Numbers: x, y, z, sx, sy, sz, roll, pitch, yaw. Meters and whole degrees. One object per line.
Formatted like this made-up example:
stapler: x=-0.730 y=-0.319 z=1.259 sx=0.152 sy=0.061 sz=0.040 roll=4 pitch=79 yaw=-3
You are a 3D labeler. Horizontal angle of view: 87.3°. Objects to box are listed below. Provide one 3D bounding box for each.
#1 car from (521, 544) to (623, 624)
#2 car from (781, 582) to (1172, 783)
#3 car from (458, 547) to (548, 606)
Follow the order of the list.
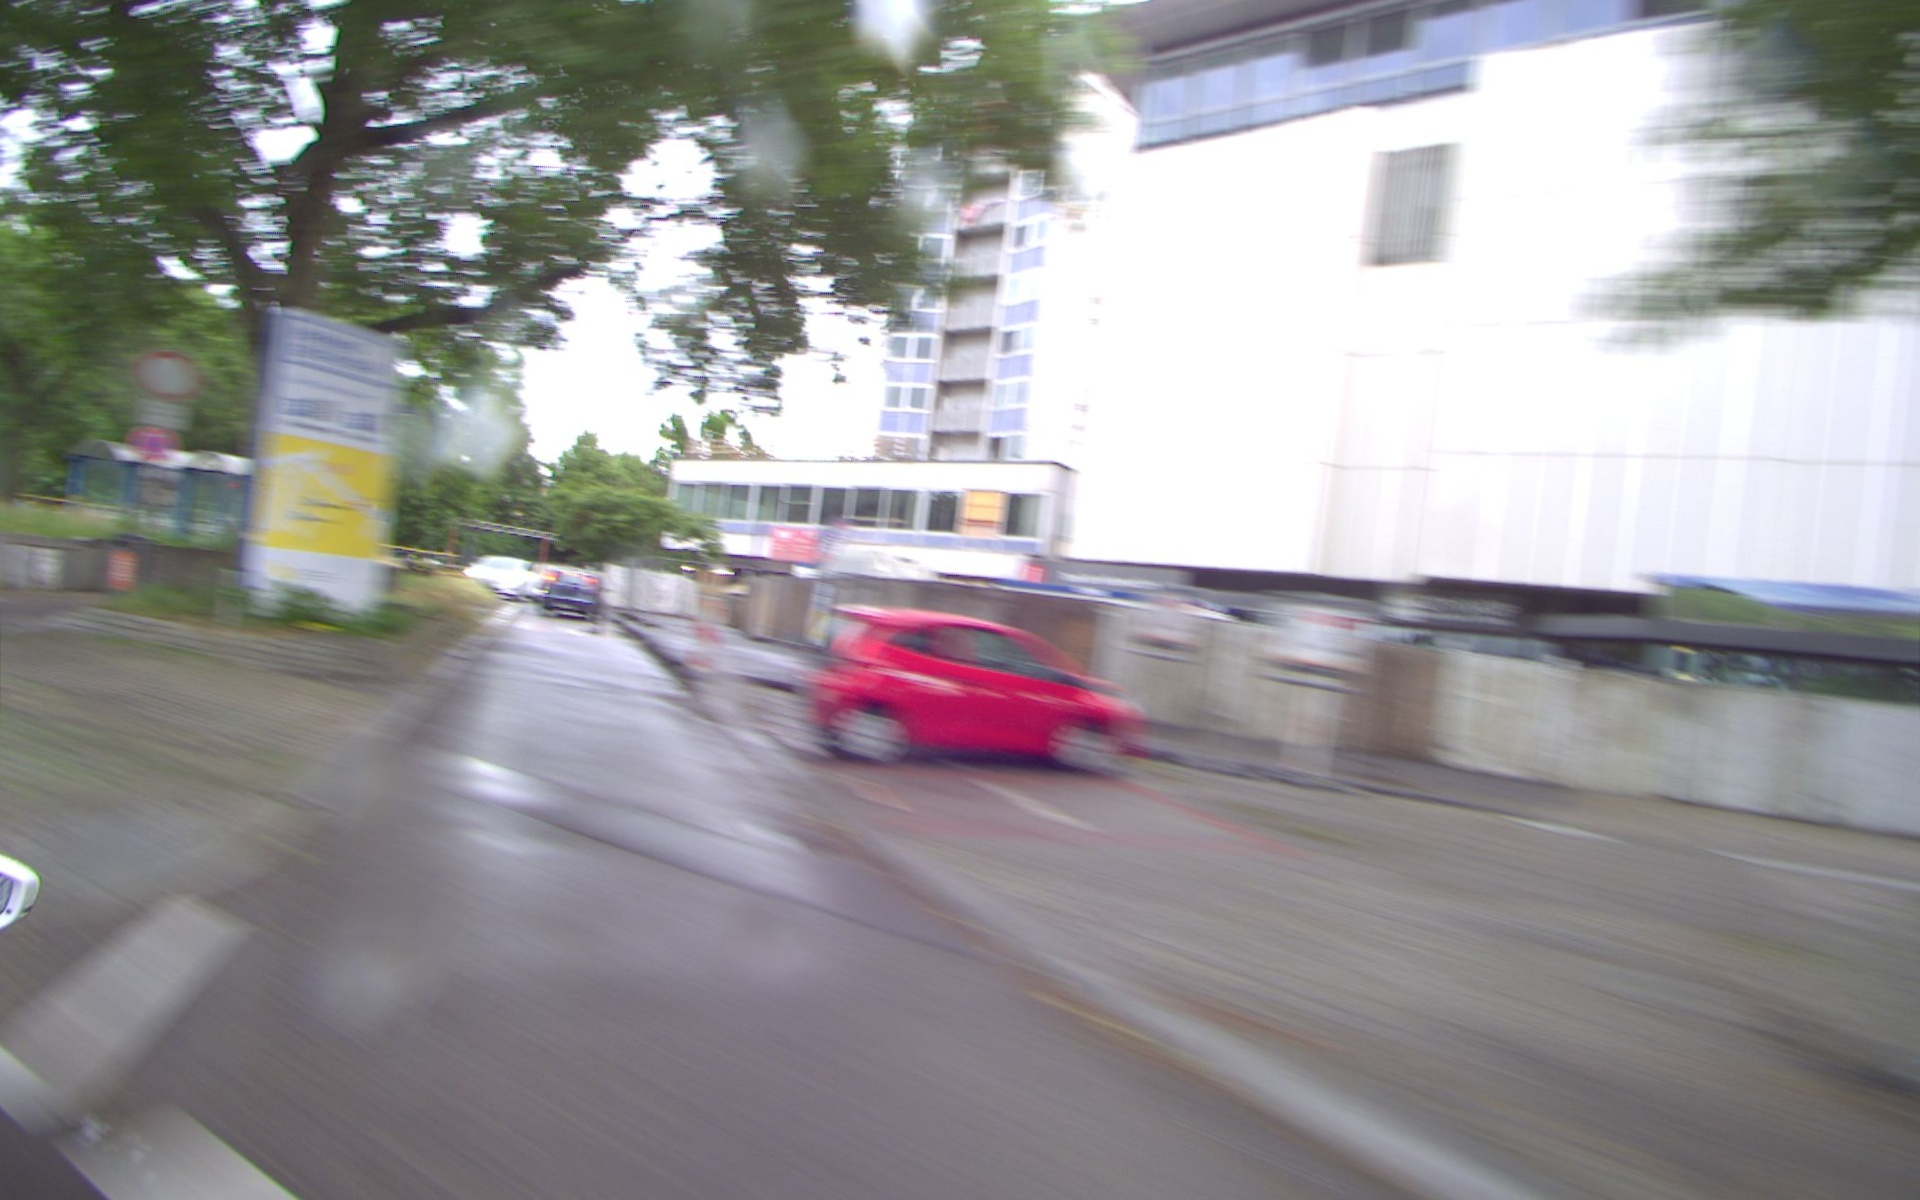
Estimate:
car: x=-12.168 y=-0.405 z=31.896 sx=2.099 sy=2.036 sz=4.643 roll=8 pitch=-3 yaw=-12
car: x=0.123 y=0.852 z=10.431 sx=3.567 sy=1.522 sz=1.729 roll=8 pitch=-3 yaw=-18
car: x=-17.646 y=-0.844 z=39.069 sx=1.918 sy=1.801 sz=4.452 roll=8 pitch=-3 yaw=-9
